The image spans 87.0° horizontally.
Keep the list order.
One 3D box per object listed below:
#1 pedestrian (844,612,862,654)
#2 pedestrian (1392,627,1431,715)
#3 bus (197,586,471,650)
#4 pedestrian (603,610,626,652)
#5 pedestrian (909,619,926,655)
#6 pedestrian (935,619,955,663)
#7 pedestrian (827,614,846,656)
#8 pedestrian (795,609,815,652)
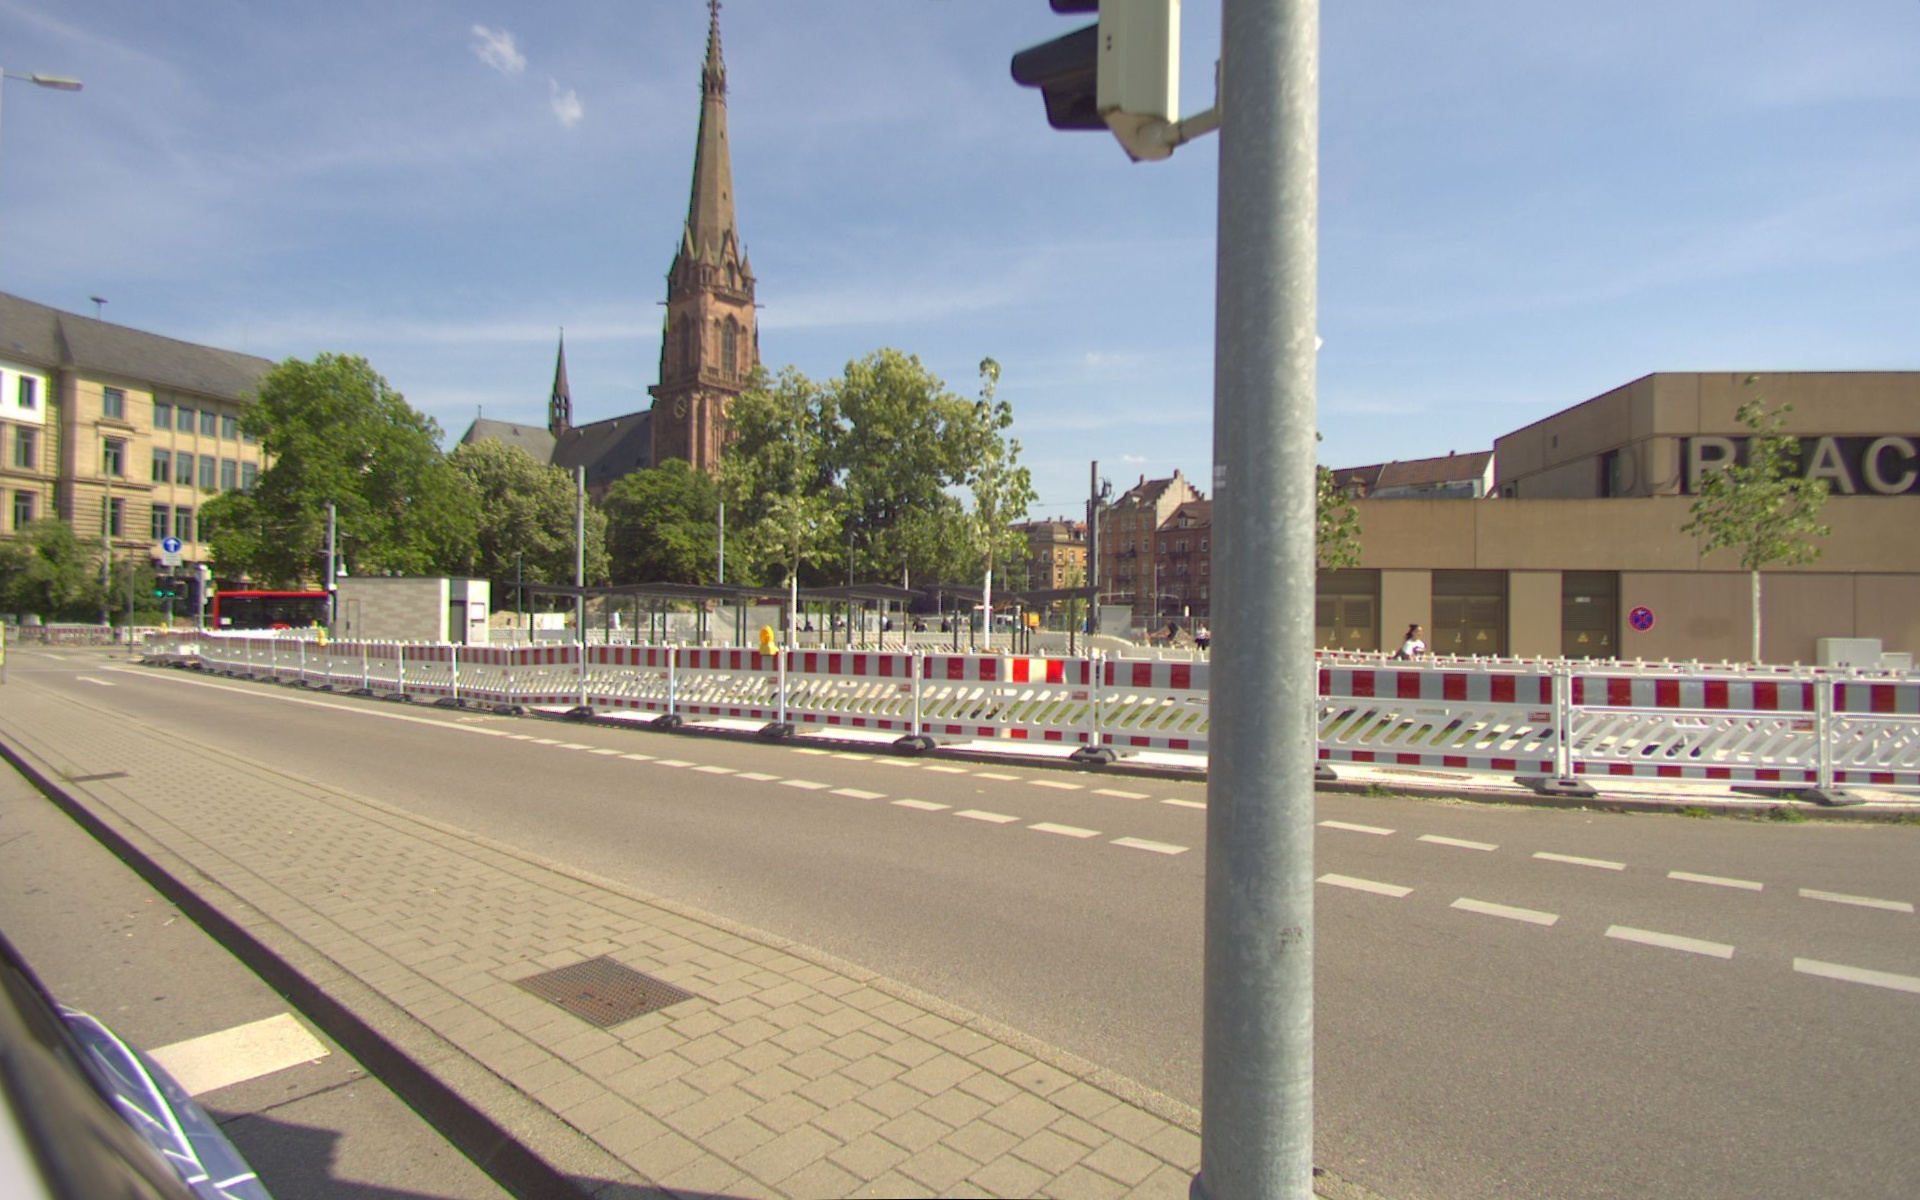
[{"bbox_3d":[-5.221,1.591,49.489,0.679,2.029,0.818,0,-2,11],"label":"pedestrian"},{"bbox_3d":[8.236,1.286,18.459,0.549,1.576,0.425,2,-2,-32],"label":"pedestrian"},{"bbox_3d":[-33.456,0.903,54.721,12.207,3.117,3.141,-1,0,-12],"label":"bus"},{"bbox_3d":[-16.597,1.483,48.645,0.687,2.029,0.809,-1,-3,44],"label":"pedestrian"},{"bbox_3d":[-2.049,1.774,48.665,0.733,1.674,0.822,1,-2,-7],"label":"pedestrian"},{"bbox_3d":[-0.675,1.877,46.466,0.680,2.029,0.816,0,-2,16],"label":"pedestrian"},{"bbox_3d":[-6.021,1.710,49.349,0.679,2.029,0.818,0,-1,11],"label":"pedestrian"},{"bbox_3d":[-7.387,1.478,48.348,0.679,2.029,0.818,0,-2,11],"label":"pedestrian"}]
